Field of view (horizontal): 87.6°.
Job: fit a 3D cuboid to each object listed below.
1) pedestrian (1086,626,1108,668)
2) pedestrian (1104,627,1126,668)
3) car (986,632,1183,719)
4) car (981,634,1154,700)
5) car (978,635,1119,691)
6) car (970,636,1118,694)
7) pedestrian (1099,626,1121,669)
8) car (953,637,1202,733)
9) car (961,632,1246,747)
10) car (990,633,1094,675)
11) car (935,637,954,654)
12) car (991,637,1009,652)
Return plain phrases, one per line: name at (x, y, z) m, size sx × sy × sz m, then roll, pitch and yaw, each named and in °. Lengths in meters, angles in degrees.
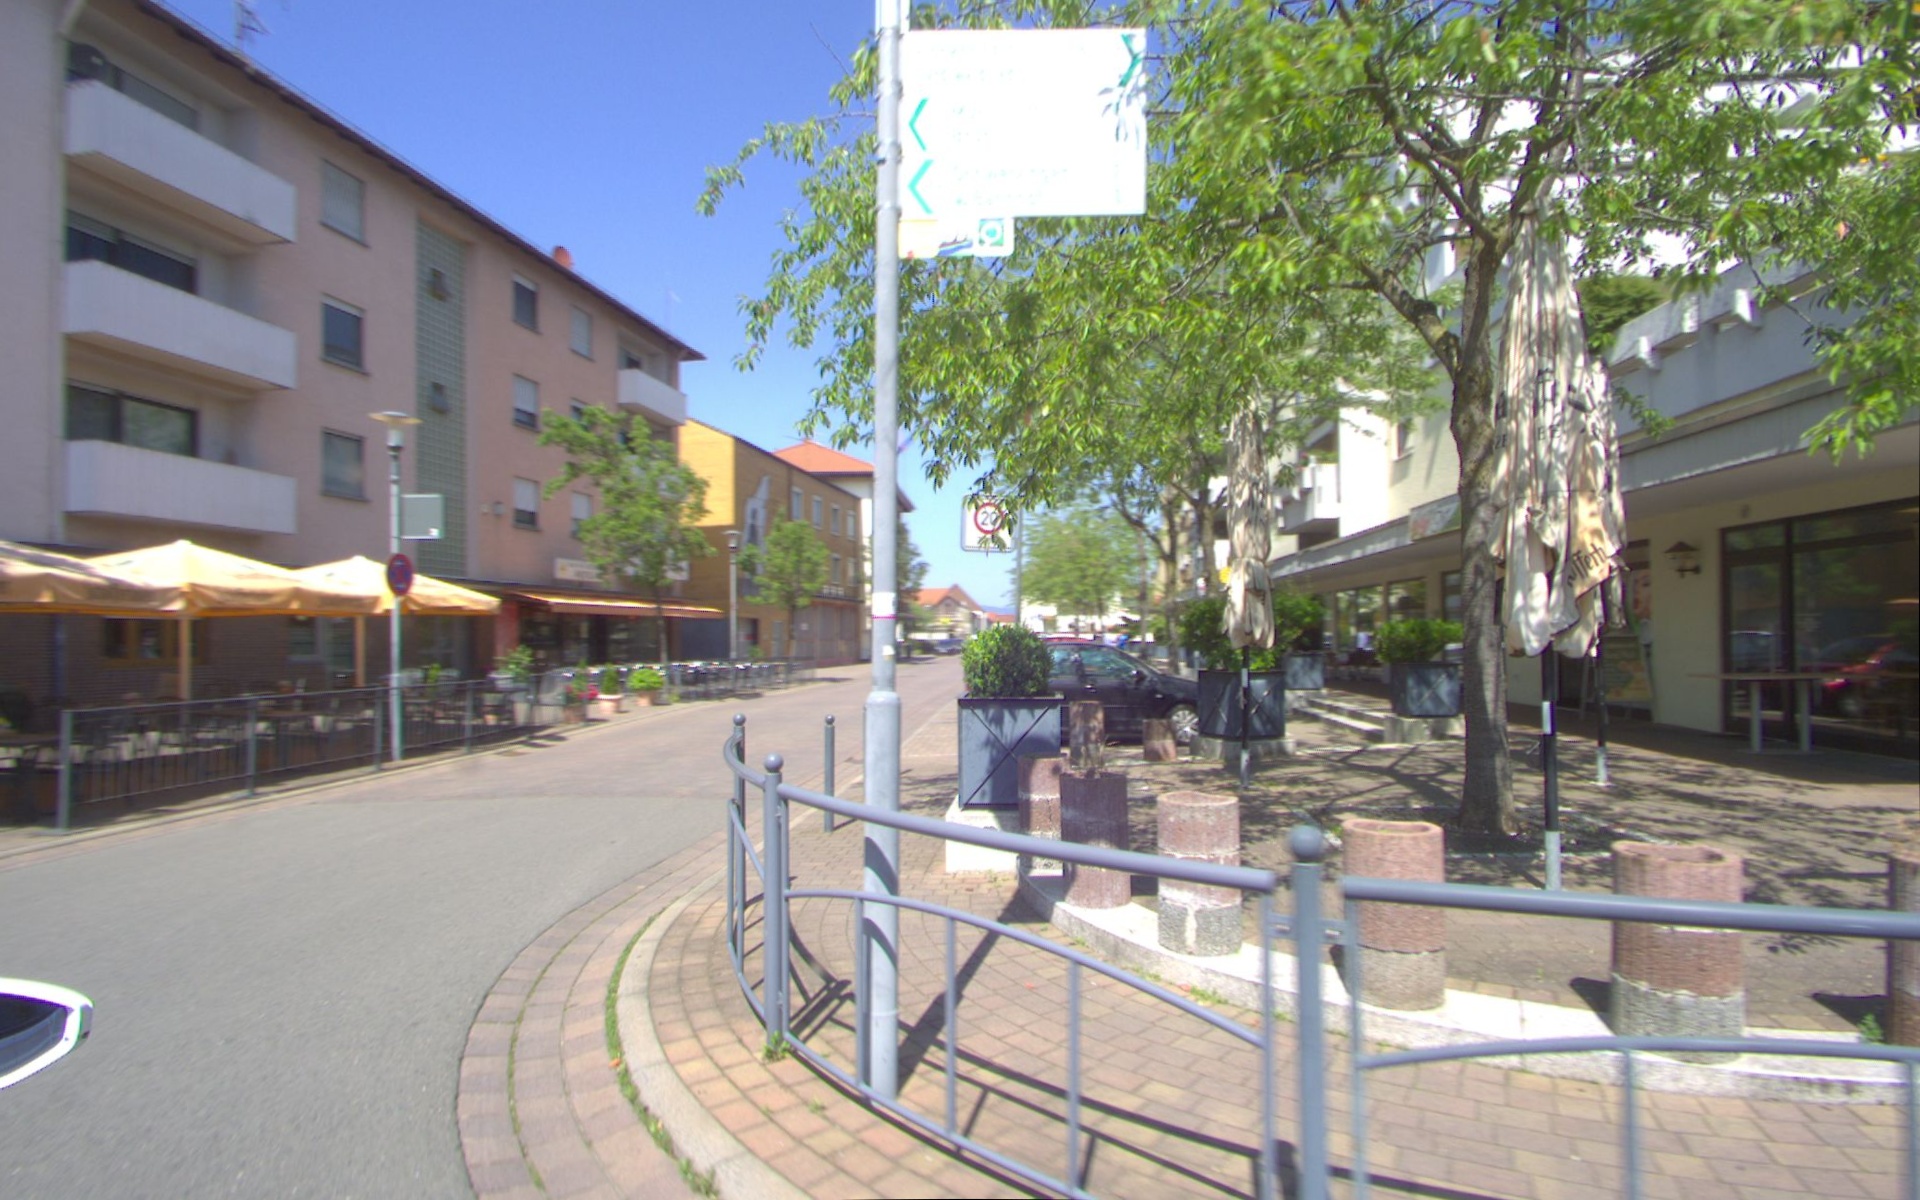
pedestrian at (6.093, 2.077, 44.454) m, size 0.824 × 1.810 × 0.807 m, roll 0°, pitch 0°, yaw -2°
pedestrian at (6.961, 2.127, 44.981) m, size 0.824 × 1.810 × 0.807 m, roll 0°, pitch 0°, yaw -2°
car at (2.399, 1.459, 19.783) m, size 3.663 × 1.554 × 1.766 m, roll -2°, pitch -1°, yaw 4°
car at (2.608, 1.649, 25.081) m, size 4.114 × 1.560 × 1.947 m, roll -1°, pitch -2°, yaw 1°
car at (2.649, 1.853, 29.954) m, size 4.086 × 1.594 × 1.759 m, roll 0°, pitch -1°, yaw 6°
car at (2.315, 1.766, 27.306) m, size 3.875 × 1.508 × 1.715 m, roll -1°, pitch -2°, yaw 10°
pedestrian at (6.498, 2.052, 43.366) m, size 0.825 × 1.810 × 0.805 m, roll 0°, pitch 0°, yaw 17°
car at (1.968, 1.428, 17.310) m, size 4.030 × 1.450 × 1.784 m, roll -2°, pitch -1°, yaw 4°
car at (2.011, 1.270, 14.702) m, size 3.894 × 1.529 × 1.773 m, roll -1°, pitch -2°, yaw 3°
car at (3.337, 2.203, 41.106) m, size 4.175 × 1.636 × 1.559 m, roll 0°, pitch -1°, yaw 4°
car at (-1.422, 4.290, 94.099) m, size 1.483 × 1.520 × 3.827 m, roll 0°, pitch -1°, yaw 4°
car at (4.526, 5.005, 112.505) m, size 1.801 × 1.552 × 3.946 m, roll 0°, pitch -1°, yaw 4°
